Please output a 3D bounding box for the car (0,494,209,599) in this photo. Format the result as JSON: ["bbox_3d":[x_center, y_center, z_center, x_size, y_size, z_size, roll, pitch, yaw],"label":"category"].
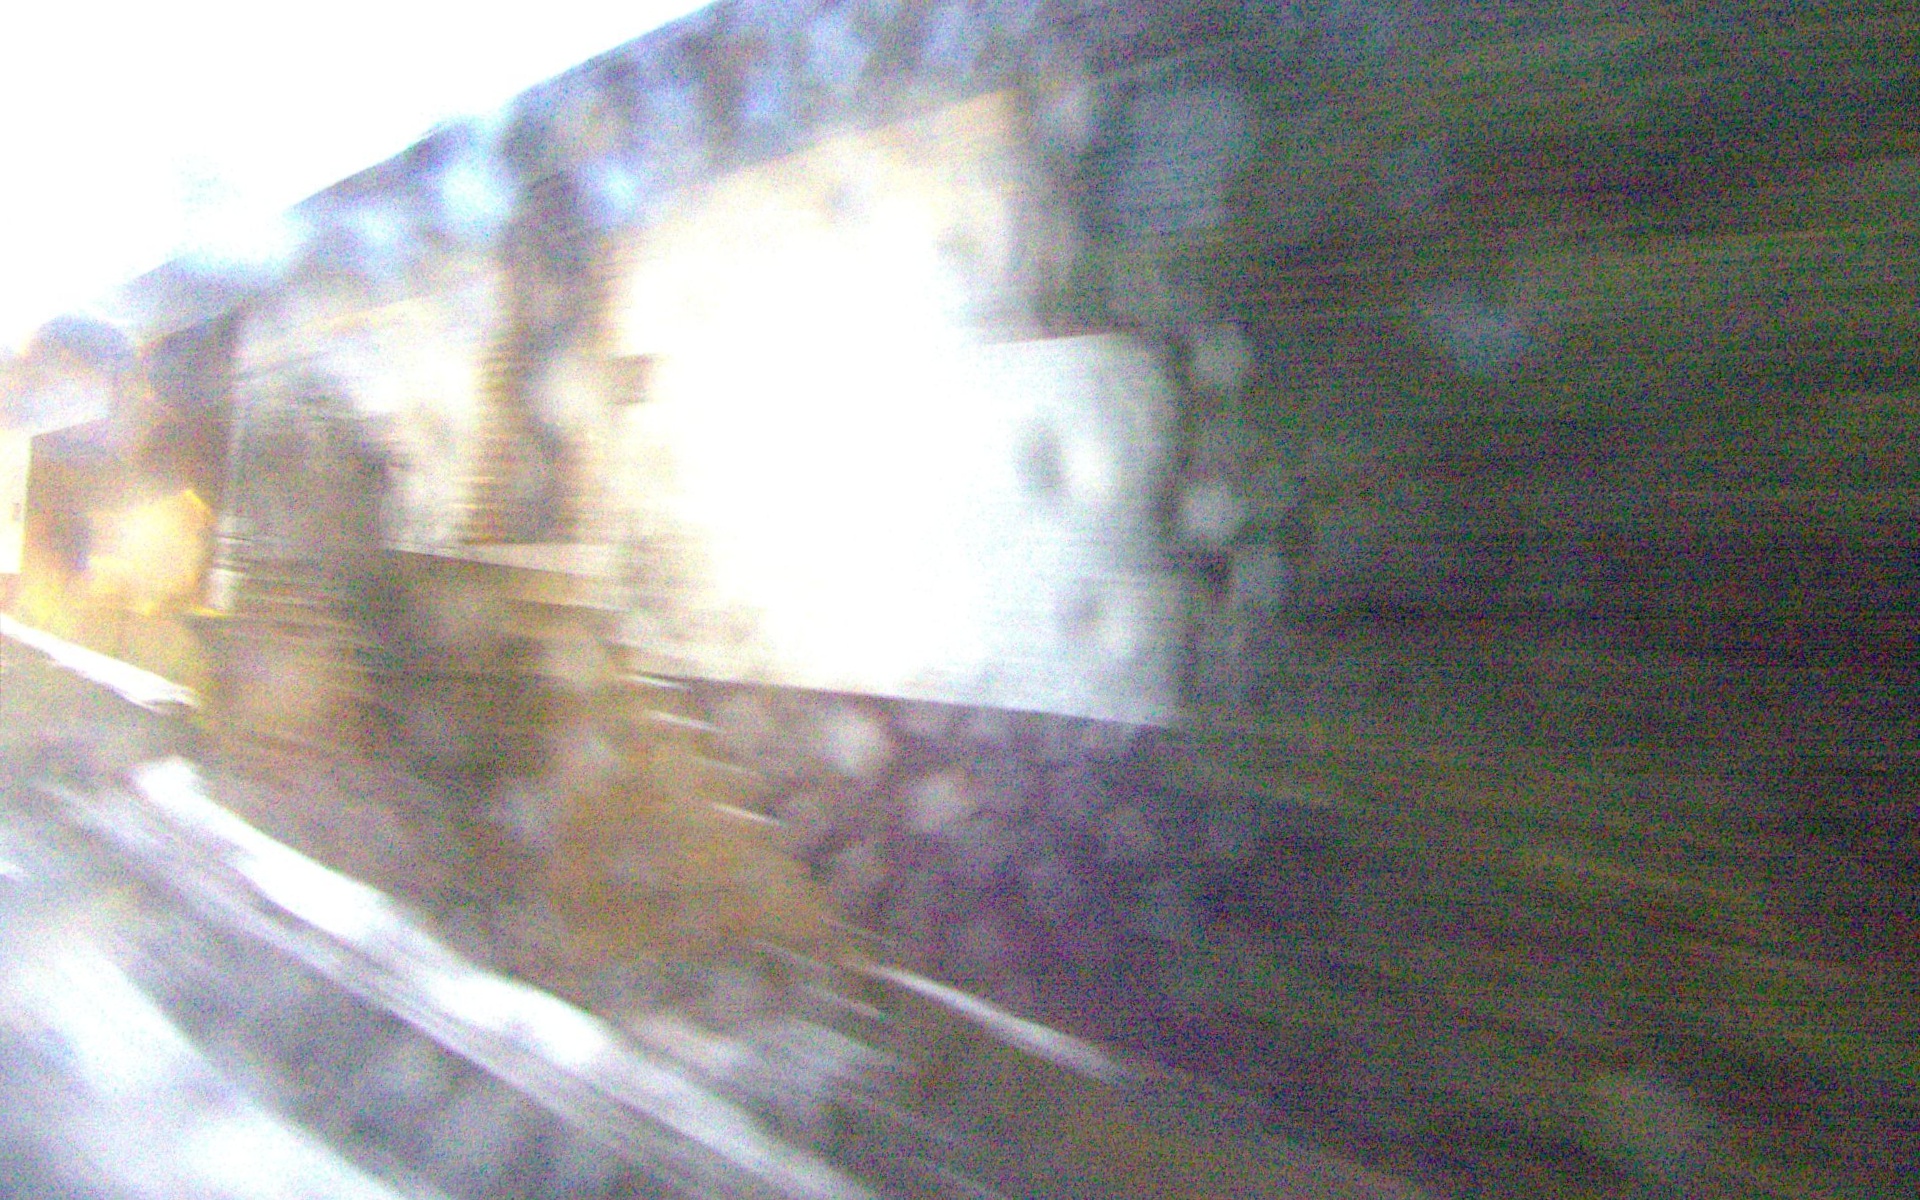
[{"bbox_3d":[-14.087,-0.829,15.720,1.615,1.405,3.435,4,0,37],"label":"car"}]
